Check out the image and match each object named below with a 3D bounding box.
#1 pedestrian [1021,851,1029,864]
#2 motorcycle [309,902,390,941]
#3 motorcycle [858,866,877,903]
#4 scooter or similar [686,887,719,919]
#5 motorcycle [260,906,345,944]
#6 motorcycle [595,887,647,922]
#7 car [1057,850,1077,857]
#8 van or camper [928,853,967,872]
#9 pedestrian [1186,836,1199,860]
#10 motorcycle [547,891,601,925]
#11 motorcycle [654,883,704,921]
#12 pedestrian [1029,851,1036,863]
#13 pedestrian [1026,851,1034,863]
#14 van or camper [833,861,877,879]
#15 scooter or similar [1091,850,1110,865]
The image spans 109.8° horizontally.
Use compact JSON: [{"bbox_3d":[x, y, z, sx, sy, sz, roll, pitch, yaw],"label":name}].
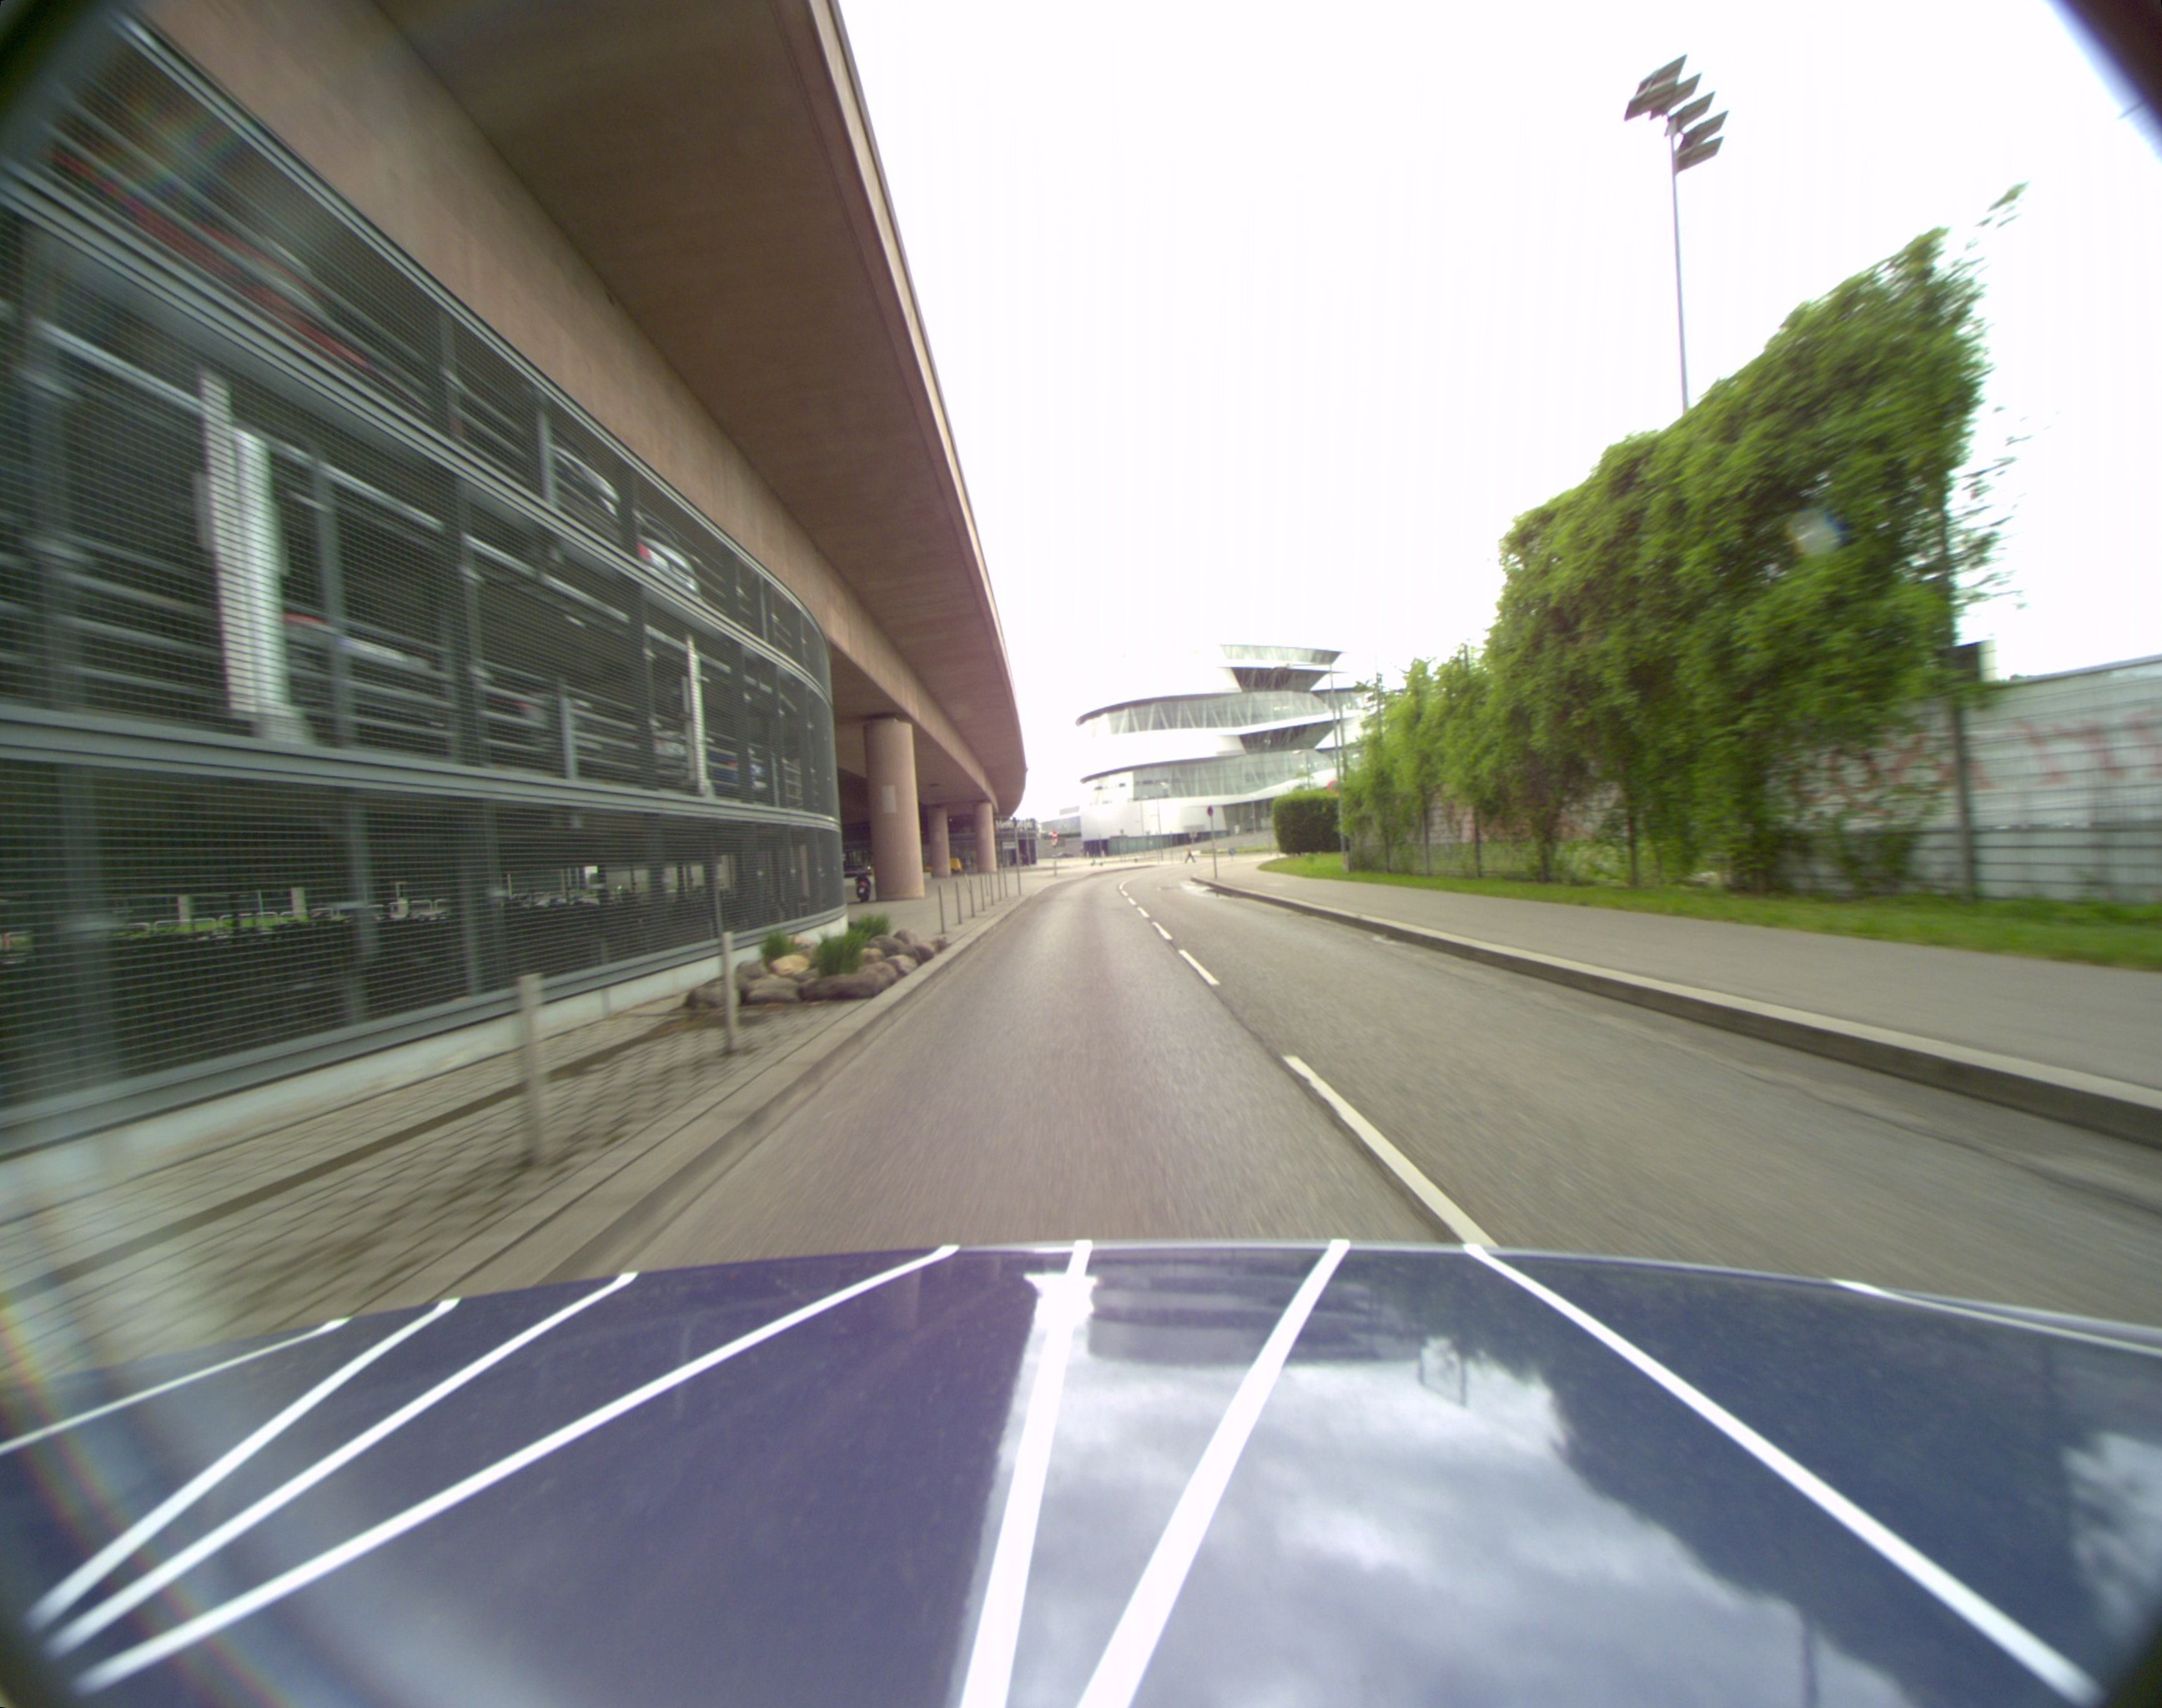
[{"bbox_3d":[-8.105,0.530,110.295,0.783,1.787,0.864,-4,0,-18],"label":"pedestrian"},{"bbox_3d":[-27.730,2.530,28.856,0.673,1.268,2.364,-4,-1,1],"label":"motorcycle"},{"bbox_3d":[-8.852,1.252,31.574,0.644,1.446,1.760,-4,-1,-15],"label":"motorcycle"},{"bbox_3d":[-14.693,1.887,29.488,0.399,1.127,1.252,-4,0,12],"label":"scooter or similar"},{"bbox_3d":[-29.349,2.654,28.708,0.673,1.213,2.364,-4,-1,1],"label":"motorcycle"},{"bbox_3d":[-18.135,1.972,30.035,0.673,1.213,2.079,-4,-1,1],"label":"motorcycle"},{"bbox_3d":[-3.736,-0.140,196.072,4.907,1.390,1.534,-3,-1,-9],"label":"car"},{"bbox_3d":[-16.660,1.053,94.757,4.503,1.988,2.361,-4,1,-5],"label":"van or camper"},{"bbox_3d":[9.986,-0.522,67.955,1.038,2.001,0.785,-4,0,9],"label":"pedestrian"},{"bbox_3d":[-20.176,2.132,30.303,0.673,1.213,2.079,-4,-1,1],"label":"motorcycle"},{"bbox_3d":[-15.752,1.856,29.830,0.607,1.295,2.130,-4,1,3],"label":"motorcycle"},{"bbox_3d":[-6.964,0.469,109.649,0.773,1.695,0.786,-4,0,-20],"label":"pedestrian"},{"bbox_3d":[-7.266,0.453,108.539,0.773,1.695,0.864,-4,0,-20],"label":"pedestrian"},{"bbox_3d":[-27.244,1.924,91.894,4.903,1.881,2.152,-3,-1,-14],"label":"van or camper"},{"bbox_3d":[1.872,0.370,72.252,1.649,1.288,0.518,-4,0,-9],"label":"scooter or similar"}]
